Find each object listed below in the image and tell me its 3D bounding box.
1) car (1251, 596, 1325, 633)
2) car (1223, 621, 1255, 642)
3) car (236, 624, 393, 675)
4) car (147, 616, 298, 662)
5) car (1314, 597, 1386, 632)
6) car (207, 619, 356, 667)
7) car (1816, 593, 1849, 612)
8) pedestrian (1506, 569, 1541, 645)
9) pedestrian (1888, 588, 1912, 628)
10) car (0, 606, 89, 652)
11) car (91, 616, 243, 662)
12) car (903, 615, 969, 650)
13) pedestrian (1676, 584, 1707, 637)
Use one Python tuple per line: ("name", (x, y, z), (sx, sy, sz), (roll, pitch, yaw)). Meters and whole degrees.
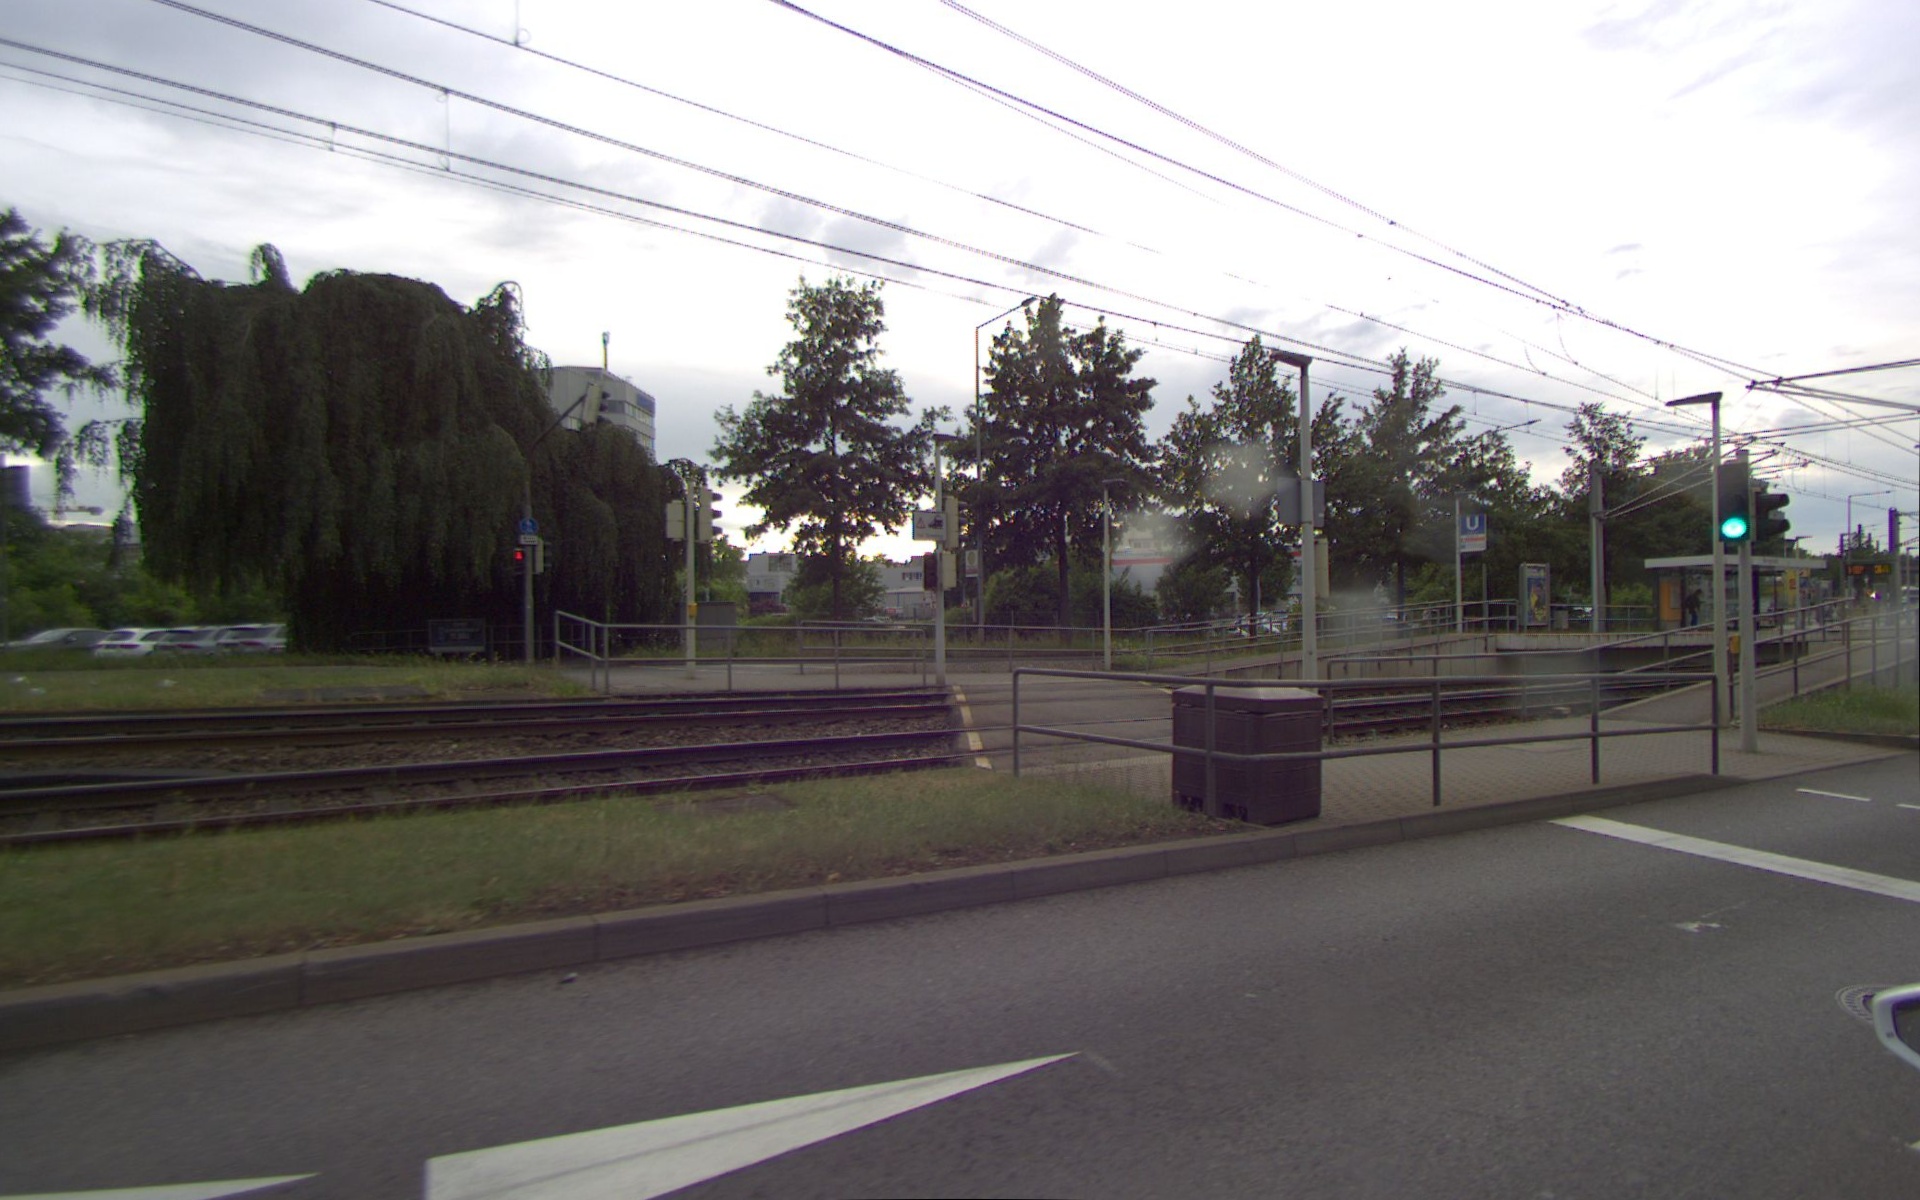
("car", (18.777, 0.795, 57.488), (3.953, 2.040, 1.984), (0, 0, -31))
("car", (29.105, 3.282, 104.776), (1.962, 2.040, 3.999), (3, -1, -3))
("car", (-21.525, 1.644, 33.673), (1.960, 1.529, 4.001), (2, -2, 19))
("car", (-26.406, 1.412, 36.134), (1.724, 1.514, 3.999), (2, -2, 23))
("car", (23.332, 0.882, 60.122), (3.954, 2.040, 1.984), (1, 0, -31))
("car", (-23.841, 1.525, 35.457), (1.724, 1.514, 3.999), (2, -2, 23))
("car", (104.694, 0.271, 120.574), (1.962, 2.040, 3.997), (2, -2, 26))
("pedestrian", (15.064, 0.181, 26.857), (0.658, 1.978, 0.545), (4, -1, -37))
("pedestrian", (50.281, 0.433, 53.729), (1.034, 2.040, 0.847), (4, -2, -42))
("car", (-33.402, 0.997, 35.081), (1.960, 1.529, 4.001), (2, -2, 19))
("car", (-29.032, 1.448, 36.928), (1.724, 1.514, 3.999), (2, -2, 23))
("car", (-1.063, 1.527, 46.899), (1.960, 1.433, 4.002), (2, -2, 16))
("pedestrian", (26.664, 0.378, 36.612), (0.743, 1.878, 0.633), (3, -1, -34))
